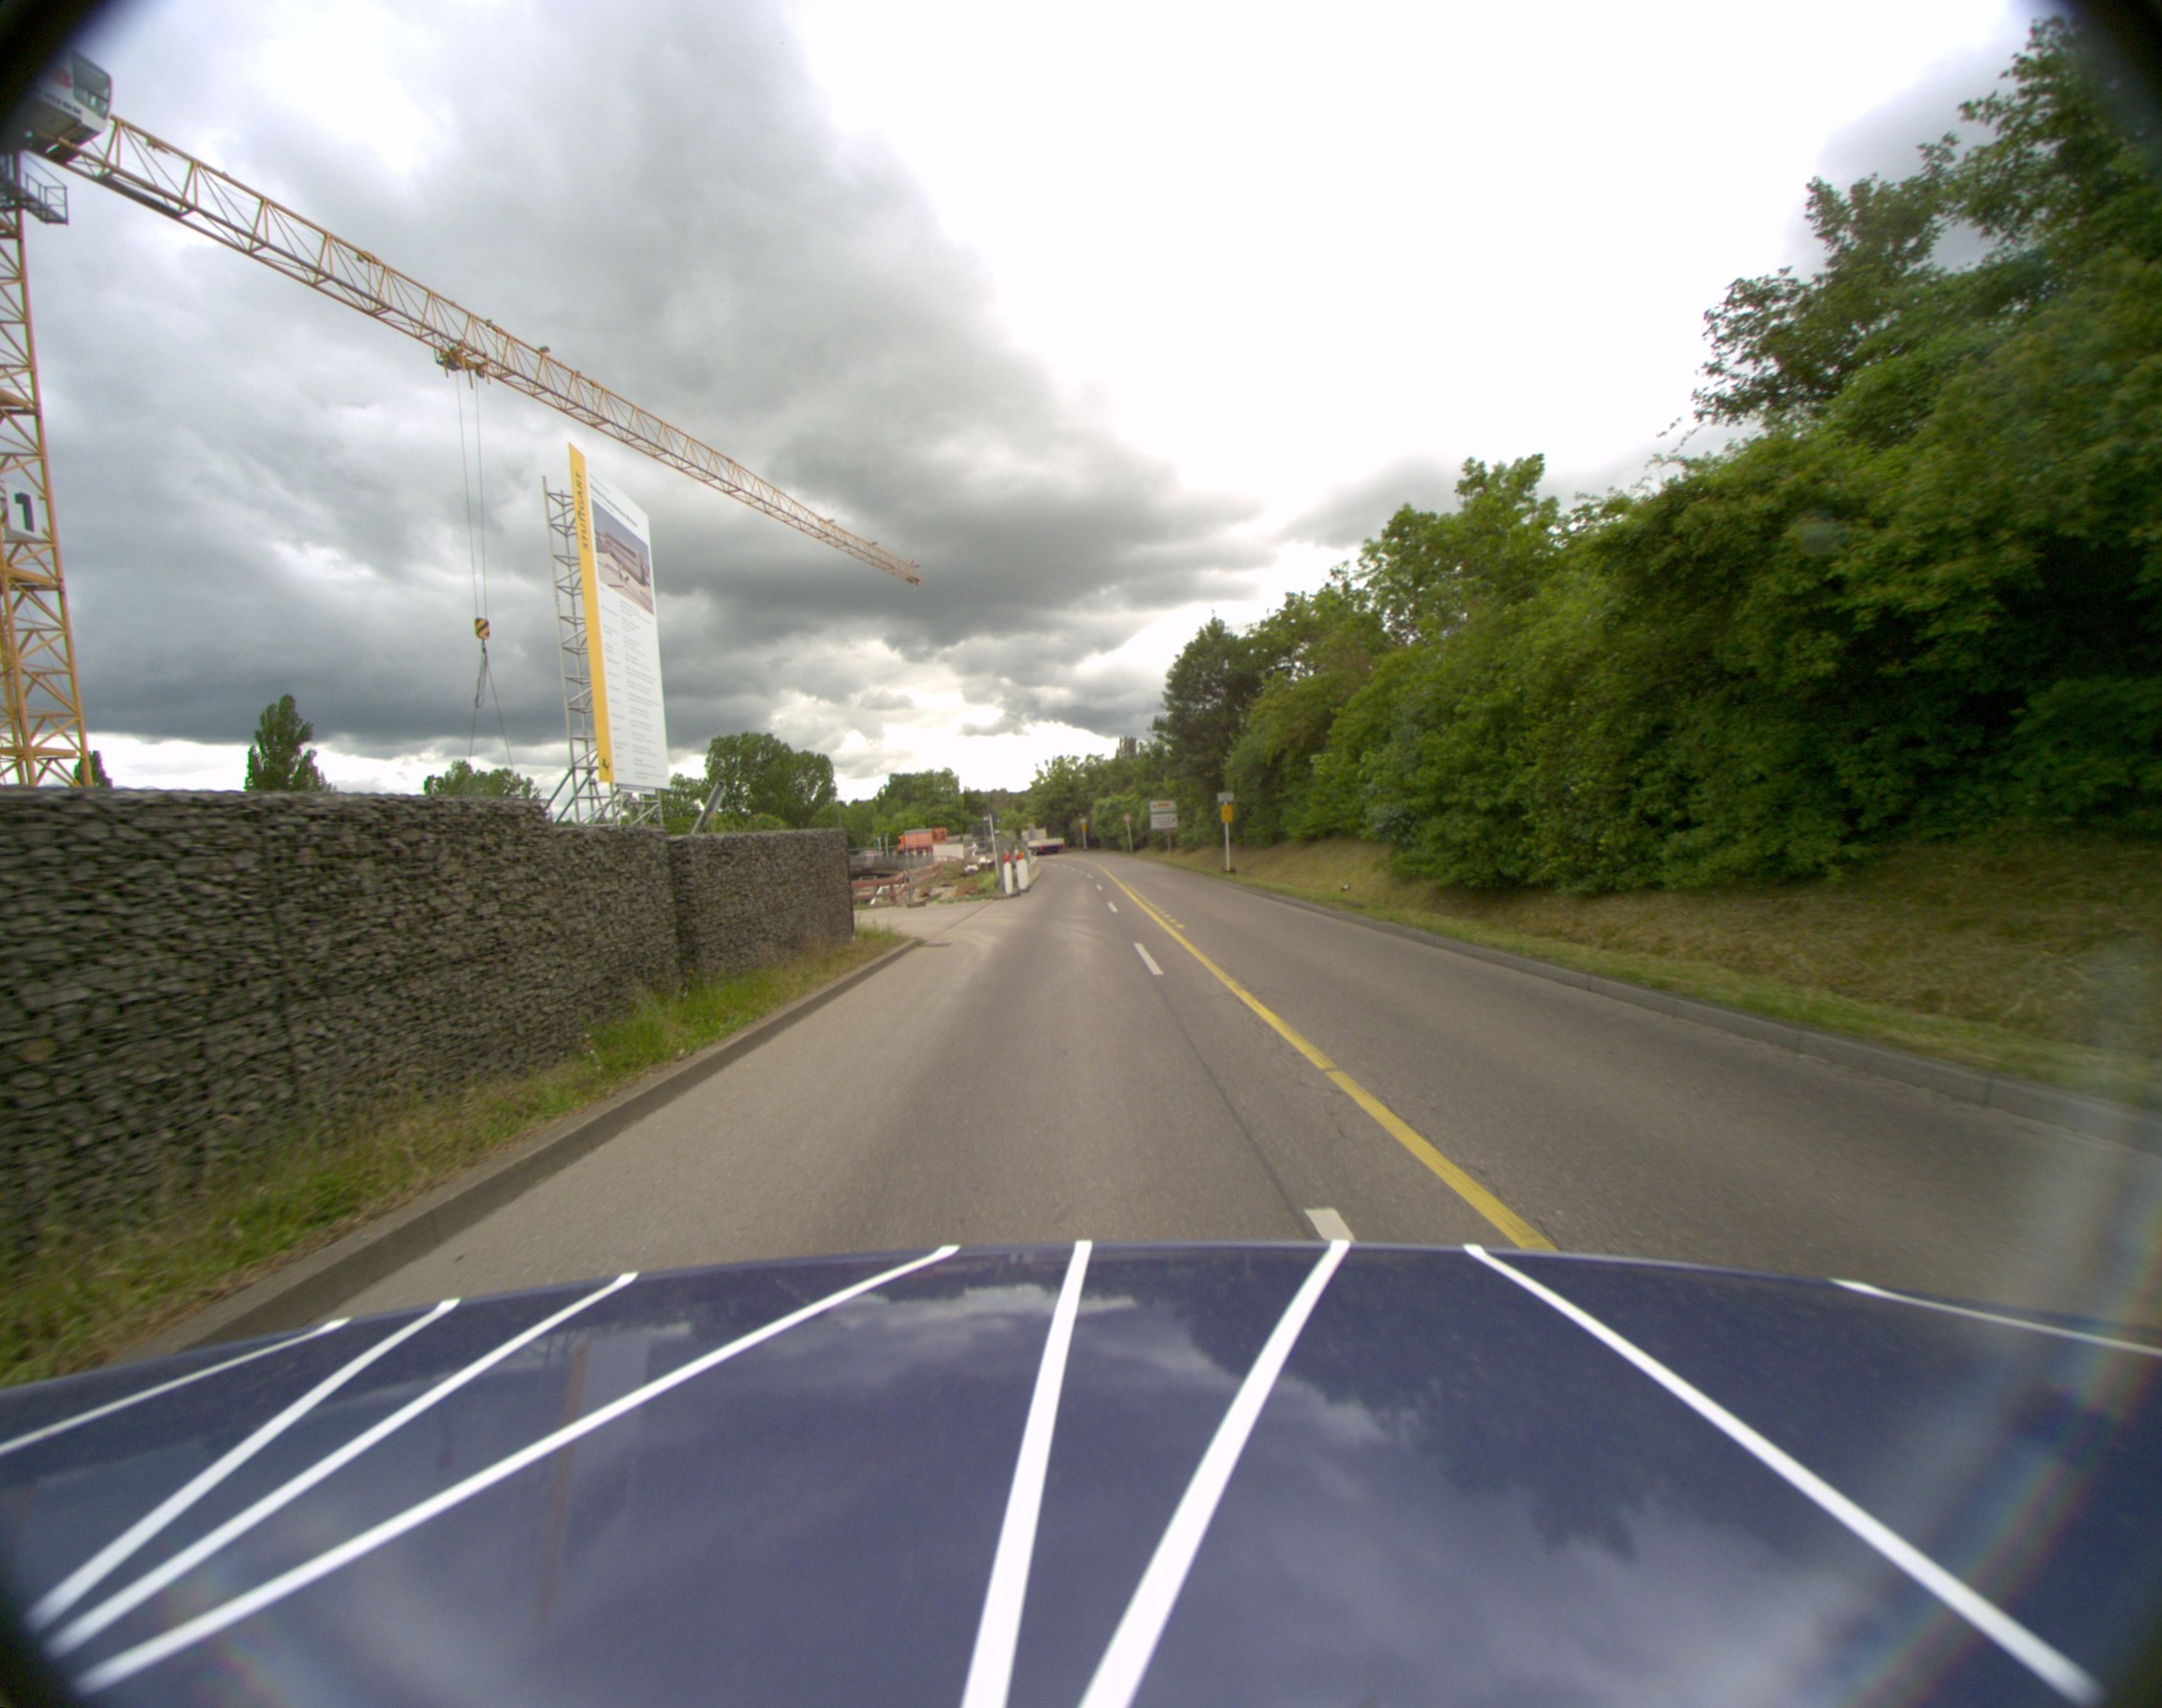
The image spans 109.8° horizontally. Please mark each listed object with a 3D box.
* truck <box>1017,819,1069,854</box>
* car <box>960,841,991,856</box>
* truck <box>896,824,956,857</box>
[{"bbox_3d":[-3.923,-1.729,77.259,2.762,3.240,7.596,-5,2,-21],"label":"truck"},{"bbox_3d":[-12.997,-0.699,93.393,1.897,1.554,4.090,-7,3,-36],"label":"car"},{"bbox_3d":[-21.345,-1.757,104.094,3.046,3.876,9.976,-7,3,-42],"label":"truck"}]
